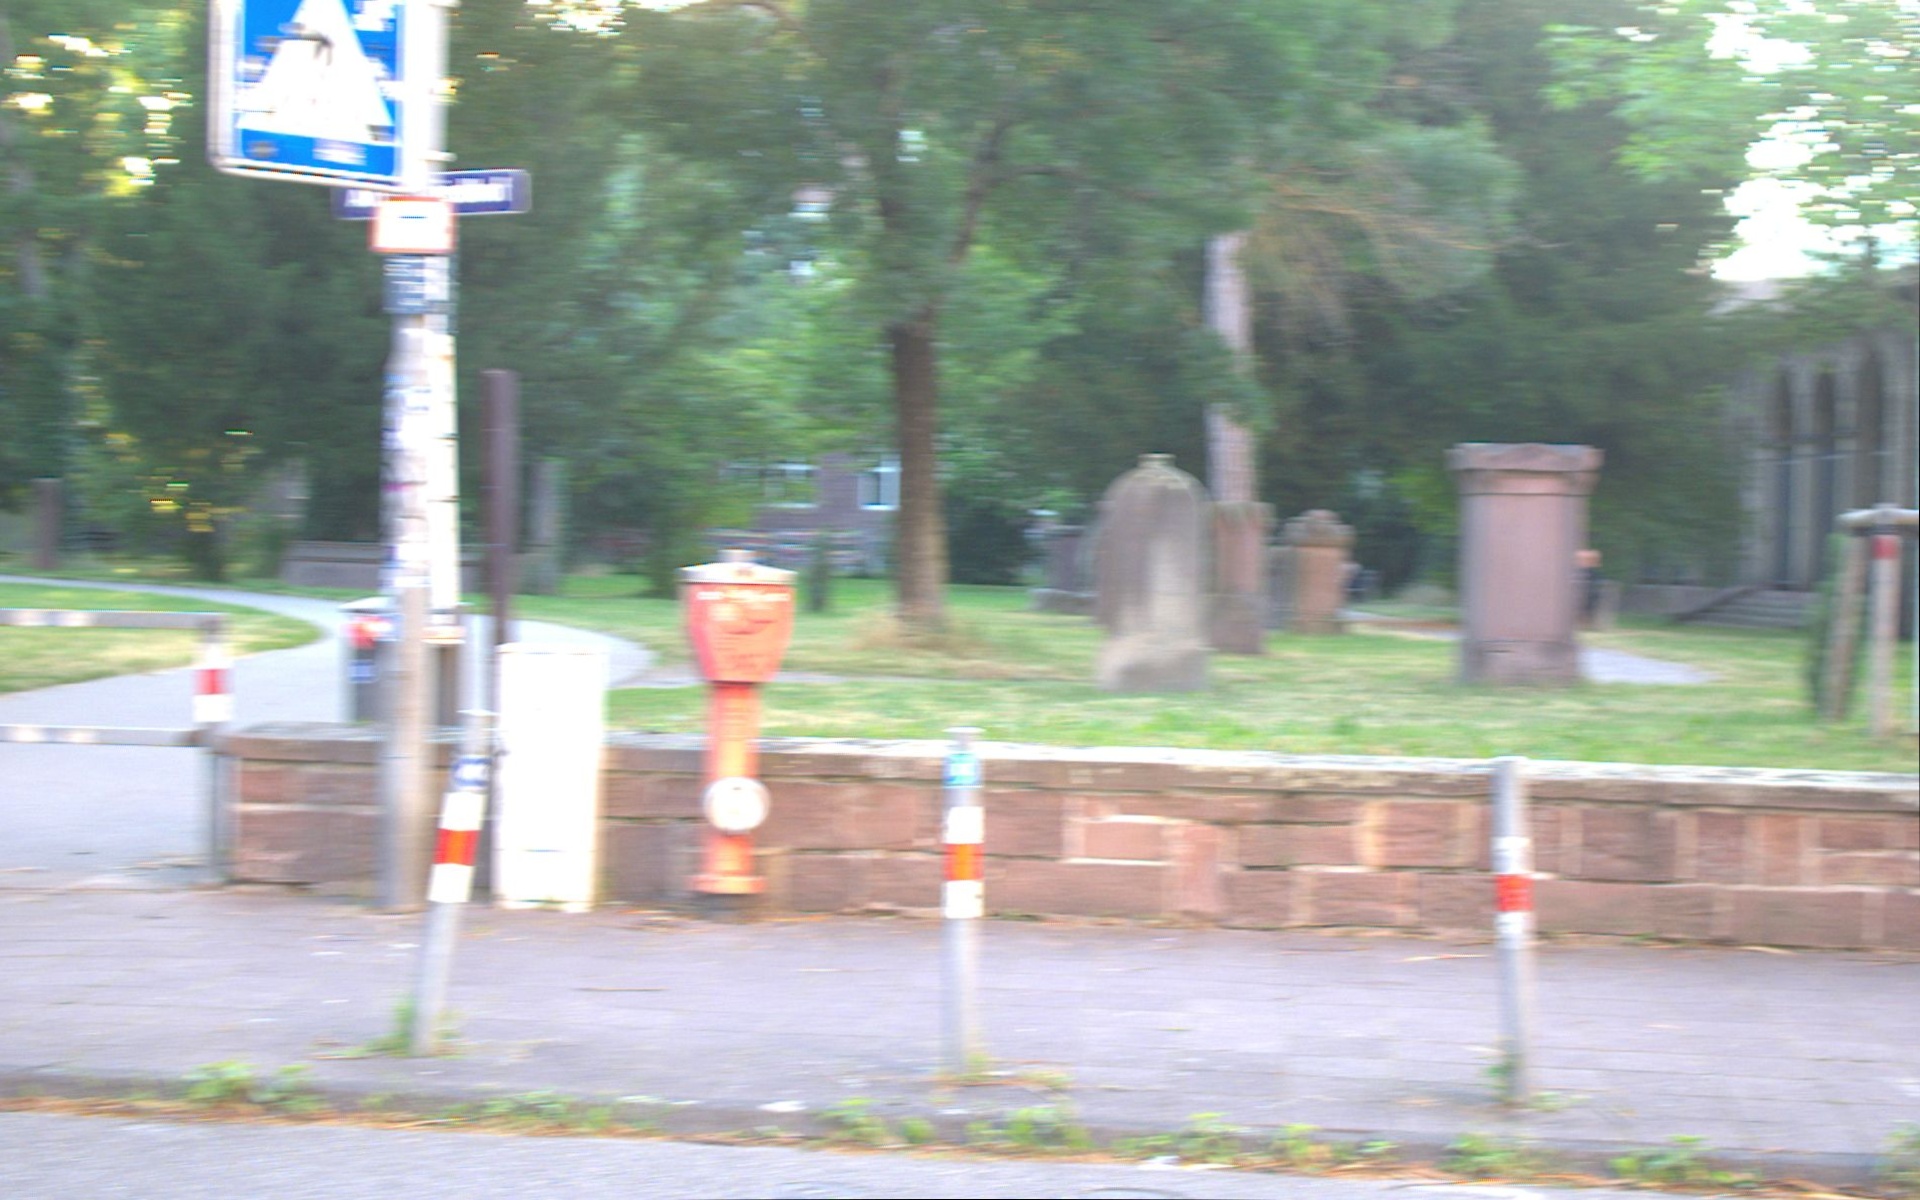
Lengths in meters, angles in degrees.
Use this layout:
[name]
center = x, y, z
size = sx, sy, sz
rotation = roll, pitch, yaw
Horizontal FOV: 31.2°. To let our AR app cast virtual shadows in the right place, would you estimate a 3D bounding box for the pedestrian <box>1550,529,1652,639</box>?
[pedestrian]
center = 8.471, -0.218, 45.404
size = 1.278, 1.421, 1.237
rotation = 1, 0, 12
